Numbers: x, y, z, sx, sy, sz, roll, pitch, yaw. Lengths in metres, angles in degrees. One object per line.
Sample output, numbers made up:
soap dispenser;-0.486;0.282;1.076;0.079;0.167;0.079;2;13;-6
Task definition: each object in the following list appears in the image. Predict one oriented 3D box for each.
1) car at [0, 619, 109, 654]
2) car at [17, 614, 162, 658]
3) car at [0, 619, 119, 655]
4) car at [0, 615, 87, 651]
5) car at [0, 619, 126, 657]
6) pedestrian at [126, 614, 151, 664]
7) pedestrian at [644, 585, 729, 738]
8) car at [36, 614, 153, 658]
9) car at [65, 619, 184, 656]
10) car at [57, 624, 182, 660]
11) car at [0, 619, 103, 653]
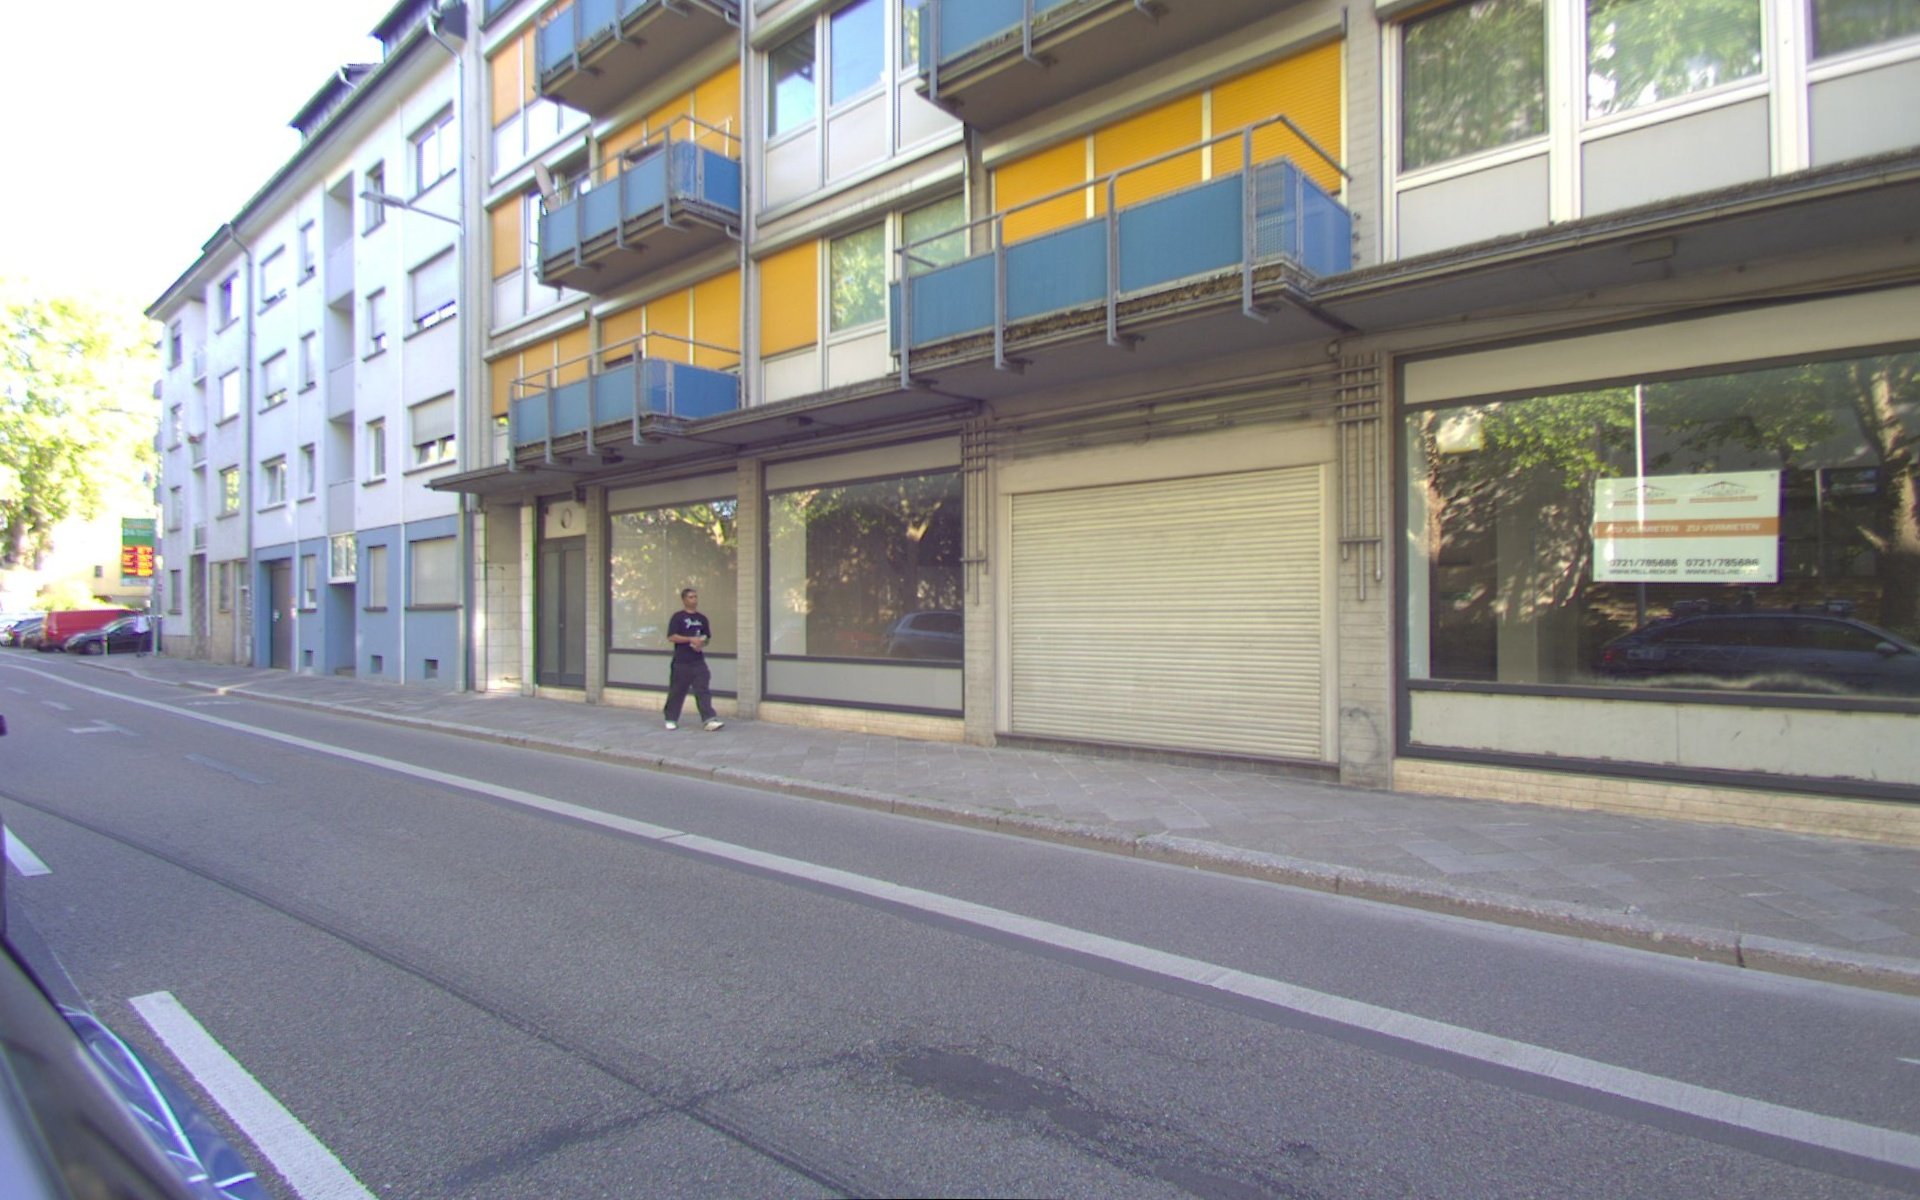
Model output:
car;-54.114;2.132;60.352;2.082;1.952;4.928;-1;-1;41
car;-42.682;1.702;49.711;2.256;1.995;5.156;-1;-1;41
car;-52.228;2.111;58.715;2.159;1.952;4.990;-1;-1;41
car;-59.336;2.100;64.710;2.186;2.164;5.077;-1;-1;41
car;-50.289;2.088;56.827;2.186;1.952;5.077;-1;-1;41
pedestrian;-29.892;1.402;36.824;0.756;1.760;0.600;-1;0;41
pedestrian;-3.330;0.720;12.325;0.793;1.785;0.655;-1;-1;41
car;-40.581;1.635;47.513;1.866;1.952;3.946;-1;-1;41
car;-37.869;1.679;45.939;1.742;1.572;3.946;-1;-1;41
car;-36.544;1.788;44.074;1.742;1.431;3.946;-1;-1;41
car;-55.961;2.160;61.983;2.314;1.952;4.978;-1;-1;41
